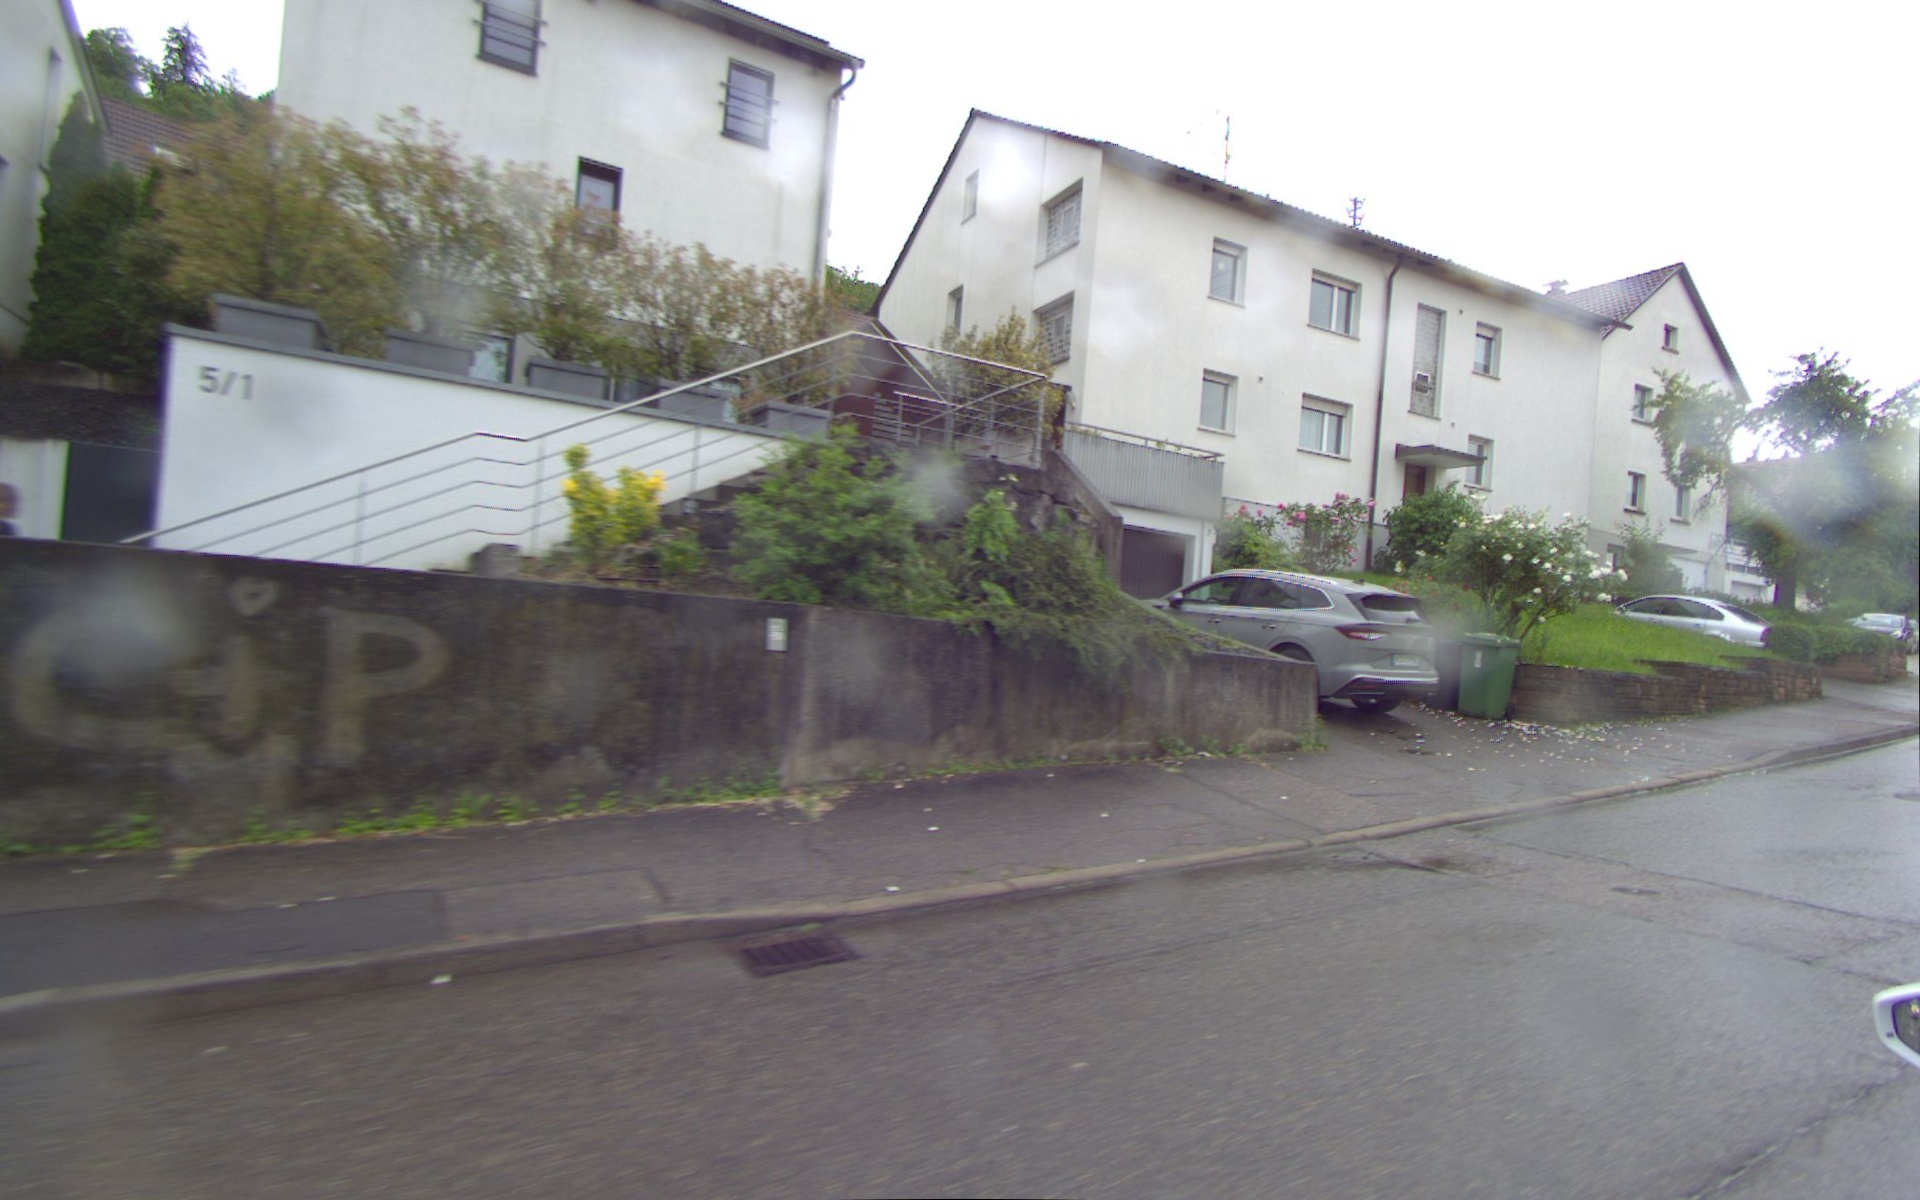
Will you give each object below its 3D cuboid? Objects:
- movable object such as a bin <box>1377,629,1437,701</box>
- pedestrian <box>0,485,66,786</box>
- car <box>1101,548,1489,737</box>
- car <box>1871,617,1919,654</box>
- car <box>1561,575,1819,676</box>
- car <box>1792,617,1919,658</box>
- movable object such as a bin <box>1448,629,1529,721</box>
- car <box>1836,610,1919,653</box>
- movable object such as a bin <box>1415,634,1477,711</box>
[{"bbox_3d":[6.227,0.900,13.999,0.489,0.937,0.482,2,5,-30],"label":"movable object such as a bin"},{"bbox_3d":[-5.656,0.190,5.737,0.725,1.671,0.651,0,2,-35],"label":"pedestrian"},{"bbox_3d":[4.064,0.391,13.038,1.911,1.636,4.484,2,6,-32],"label":"car"},{"bbox_3d":[44.652,1.668,47.853,1.783,1.618,4.393,1,0,43],"label":"car"},{"bbox_3d":[16.227,0.507,22.613,1.743,1.451,4.236,3,8,-26],"label":"car"},{"bbox_3d":[37.702,1.612,42.174,1.783,1.496,3.808,2,-6,-32],"label":"car"},{"bbox_3d":[6.867,0.954,13.055,0.735,1.090,0.534,1,6,-34],"label":"movable object such as a bin"},{"bbox_3d":[34.800,1.198,38.059,4.213,1.395,1.751,2,3,-40],"label":"car"},{"bbox_3d":[6.514,0.964,13.474,0.489,0.966,0.466,1,5,-30],"label":"movable object such as a bin"}]
